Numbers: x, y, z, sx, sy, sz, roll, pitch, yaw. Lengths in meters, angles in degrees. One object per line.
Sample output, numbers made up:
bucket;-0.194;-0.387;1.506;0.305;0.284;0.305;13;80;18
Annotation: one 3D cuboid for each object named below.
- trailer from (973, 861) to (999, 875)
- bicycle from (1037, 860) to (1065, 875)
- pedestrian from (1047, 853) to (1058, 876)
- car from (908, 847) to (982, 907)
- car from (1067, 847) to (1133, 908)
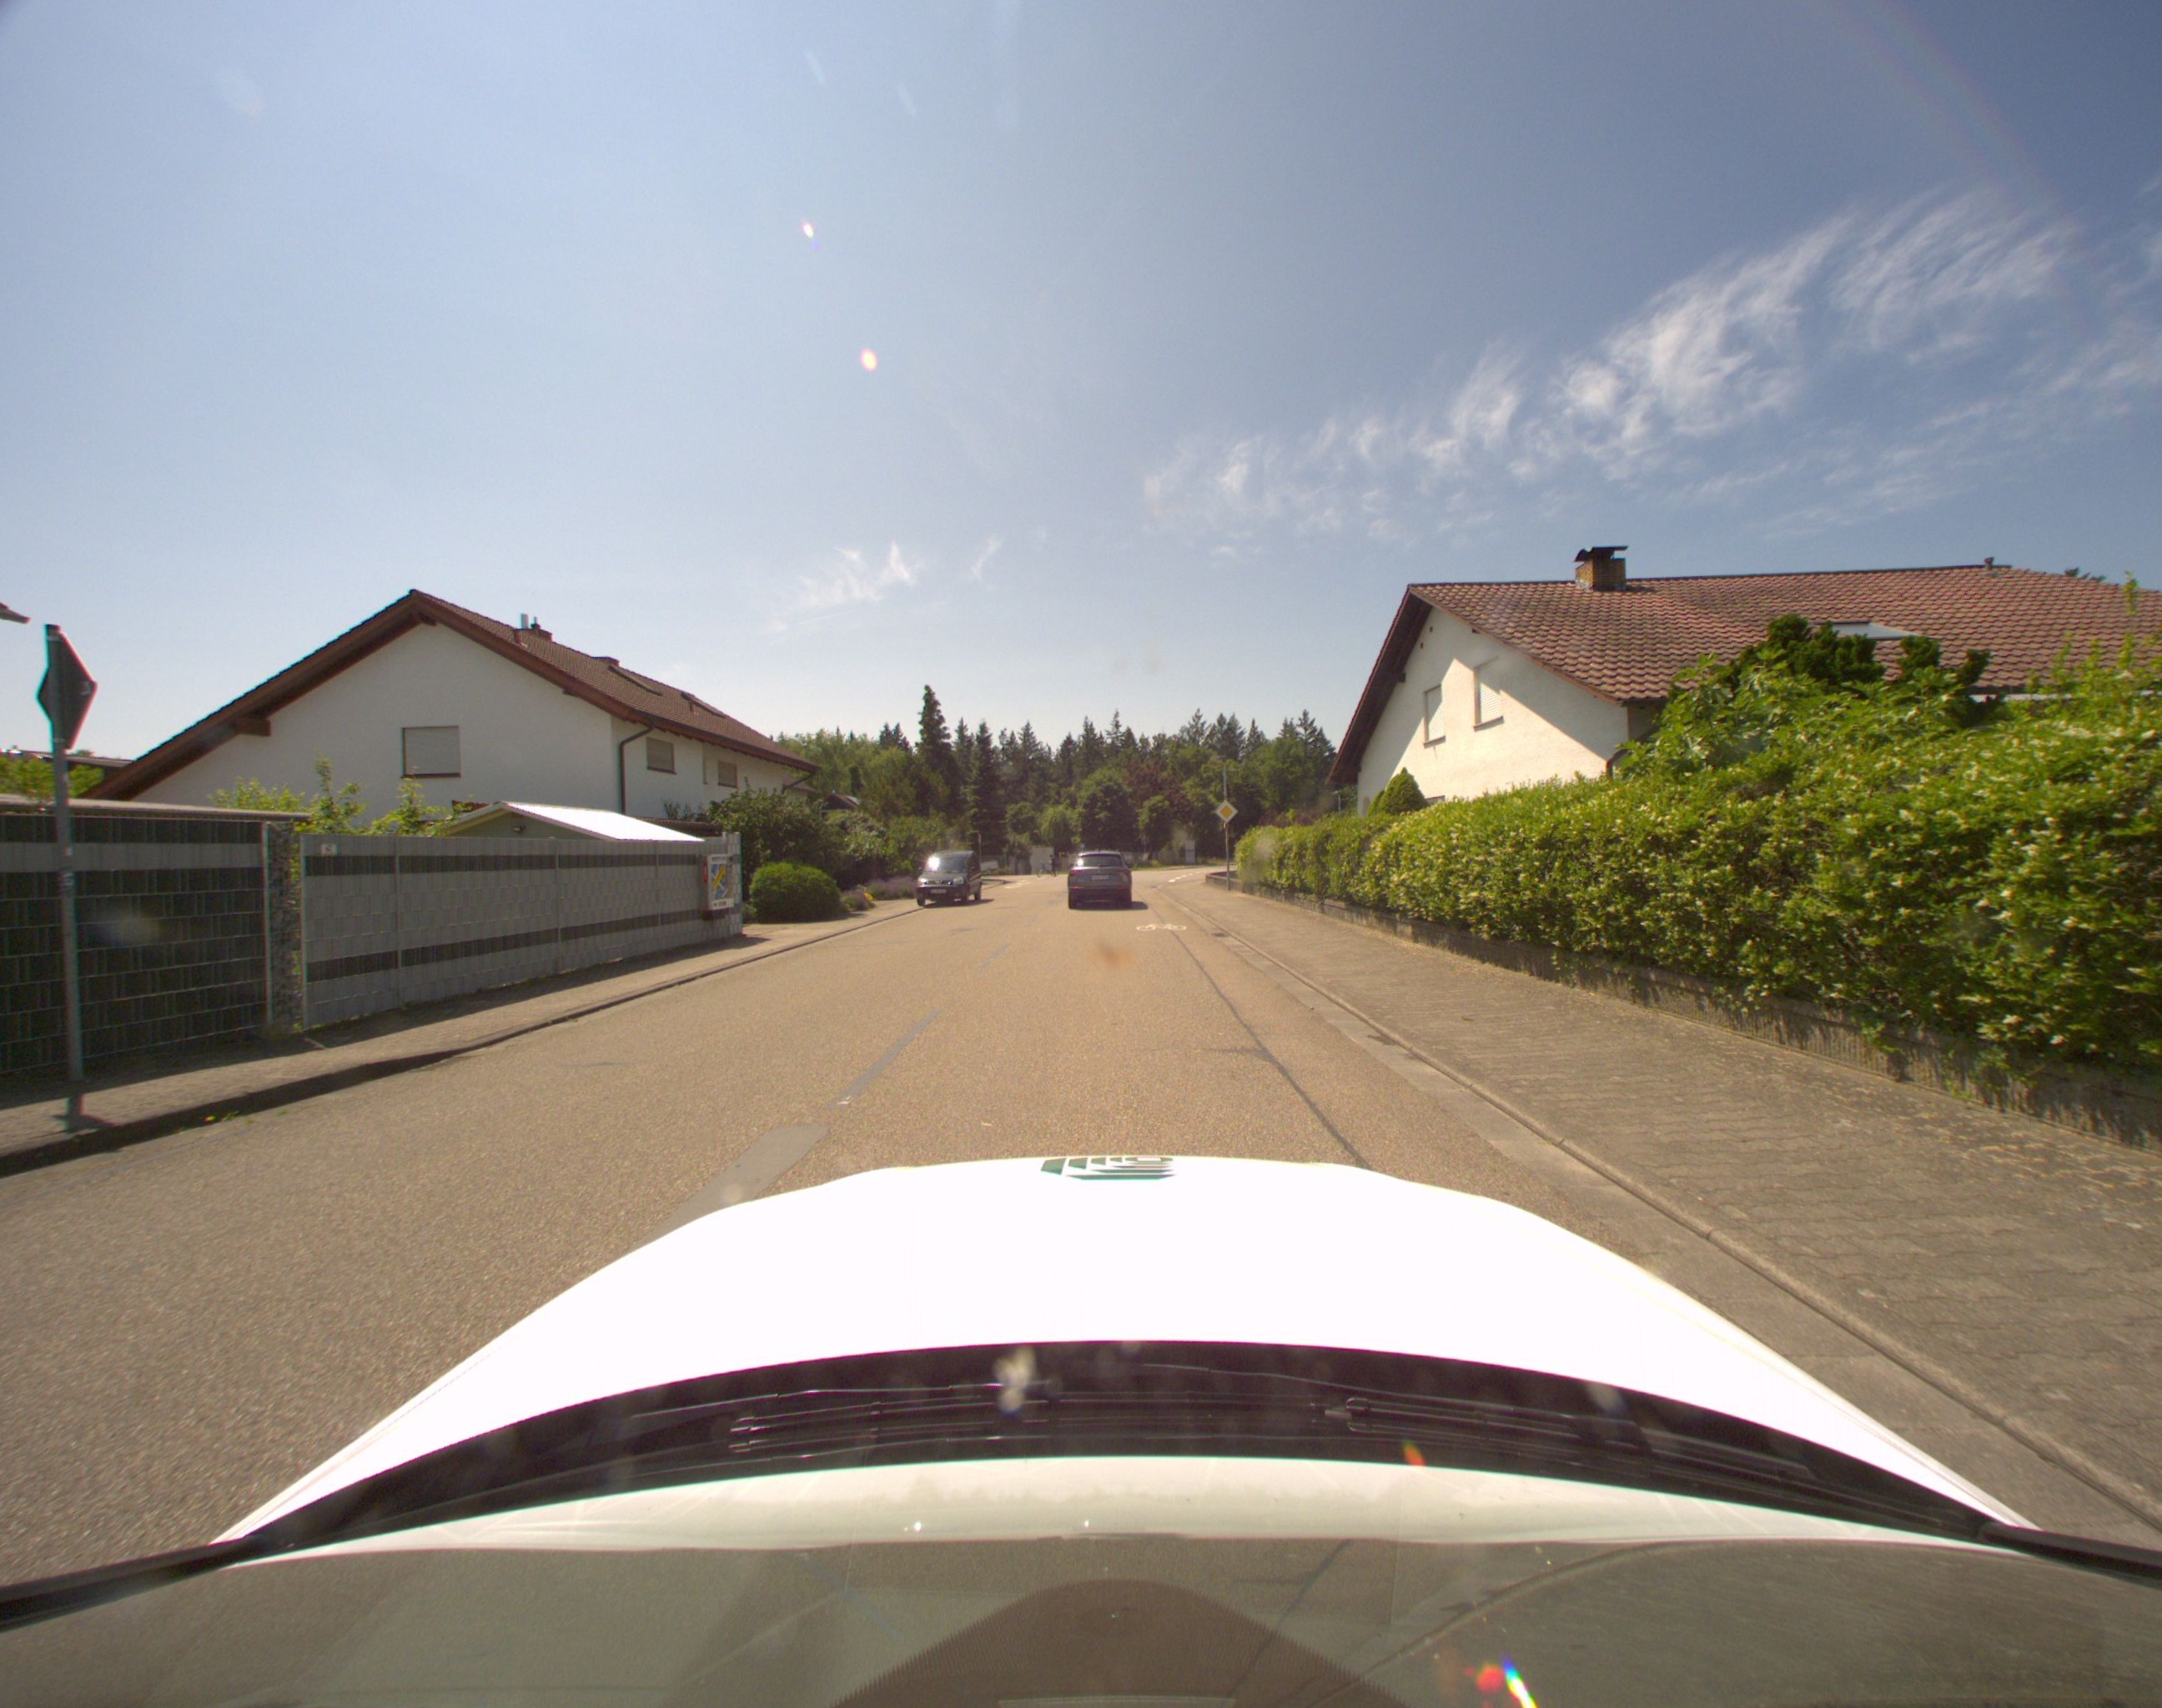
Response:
trailer;-8.190;1.216;70.490;2.212;1.084;1.104;-2;0;-7
bicycle;-2.064;0.920;55.693;1.849;0.964;0.440;-2;0;-20
pedestrian;-1.935;0.715;55.215;0.612;1.501;0.501;-1;-1;-20
car;-4.525;0.733;27.650;1.712;1.846;4.054;-2;0;1
car;0.544;0.633;23.757;1.756;1.618;4.000;0;0;1
